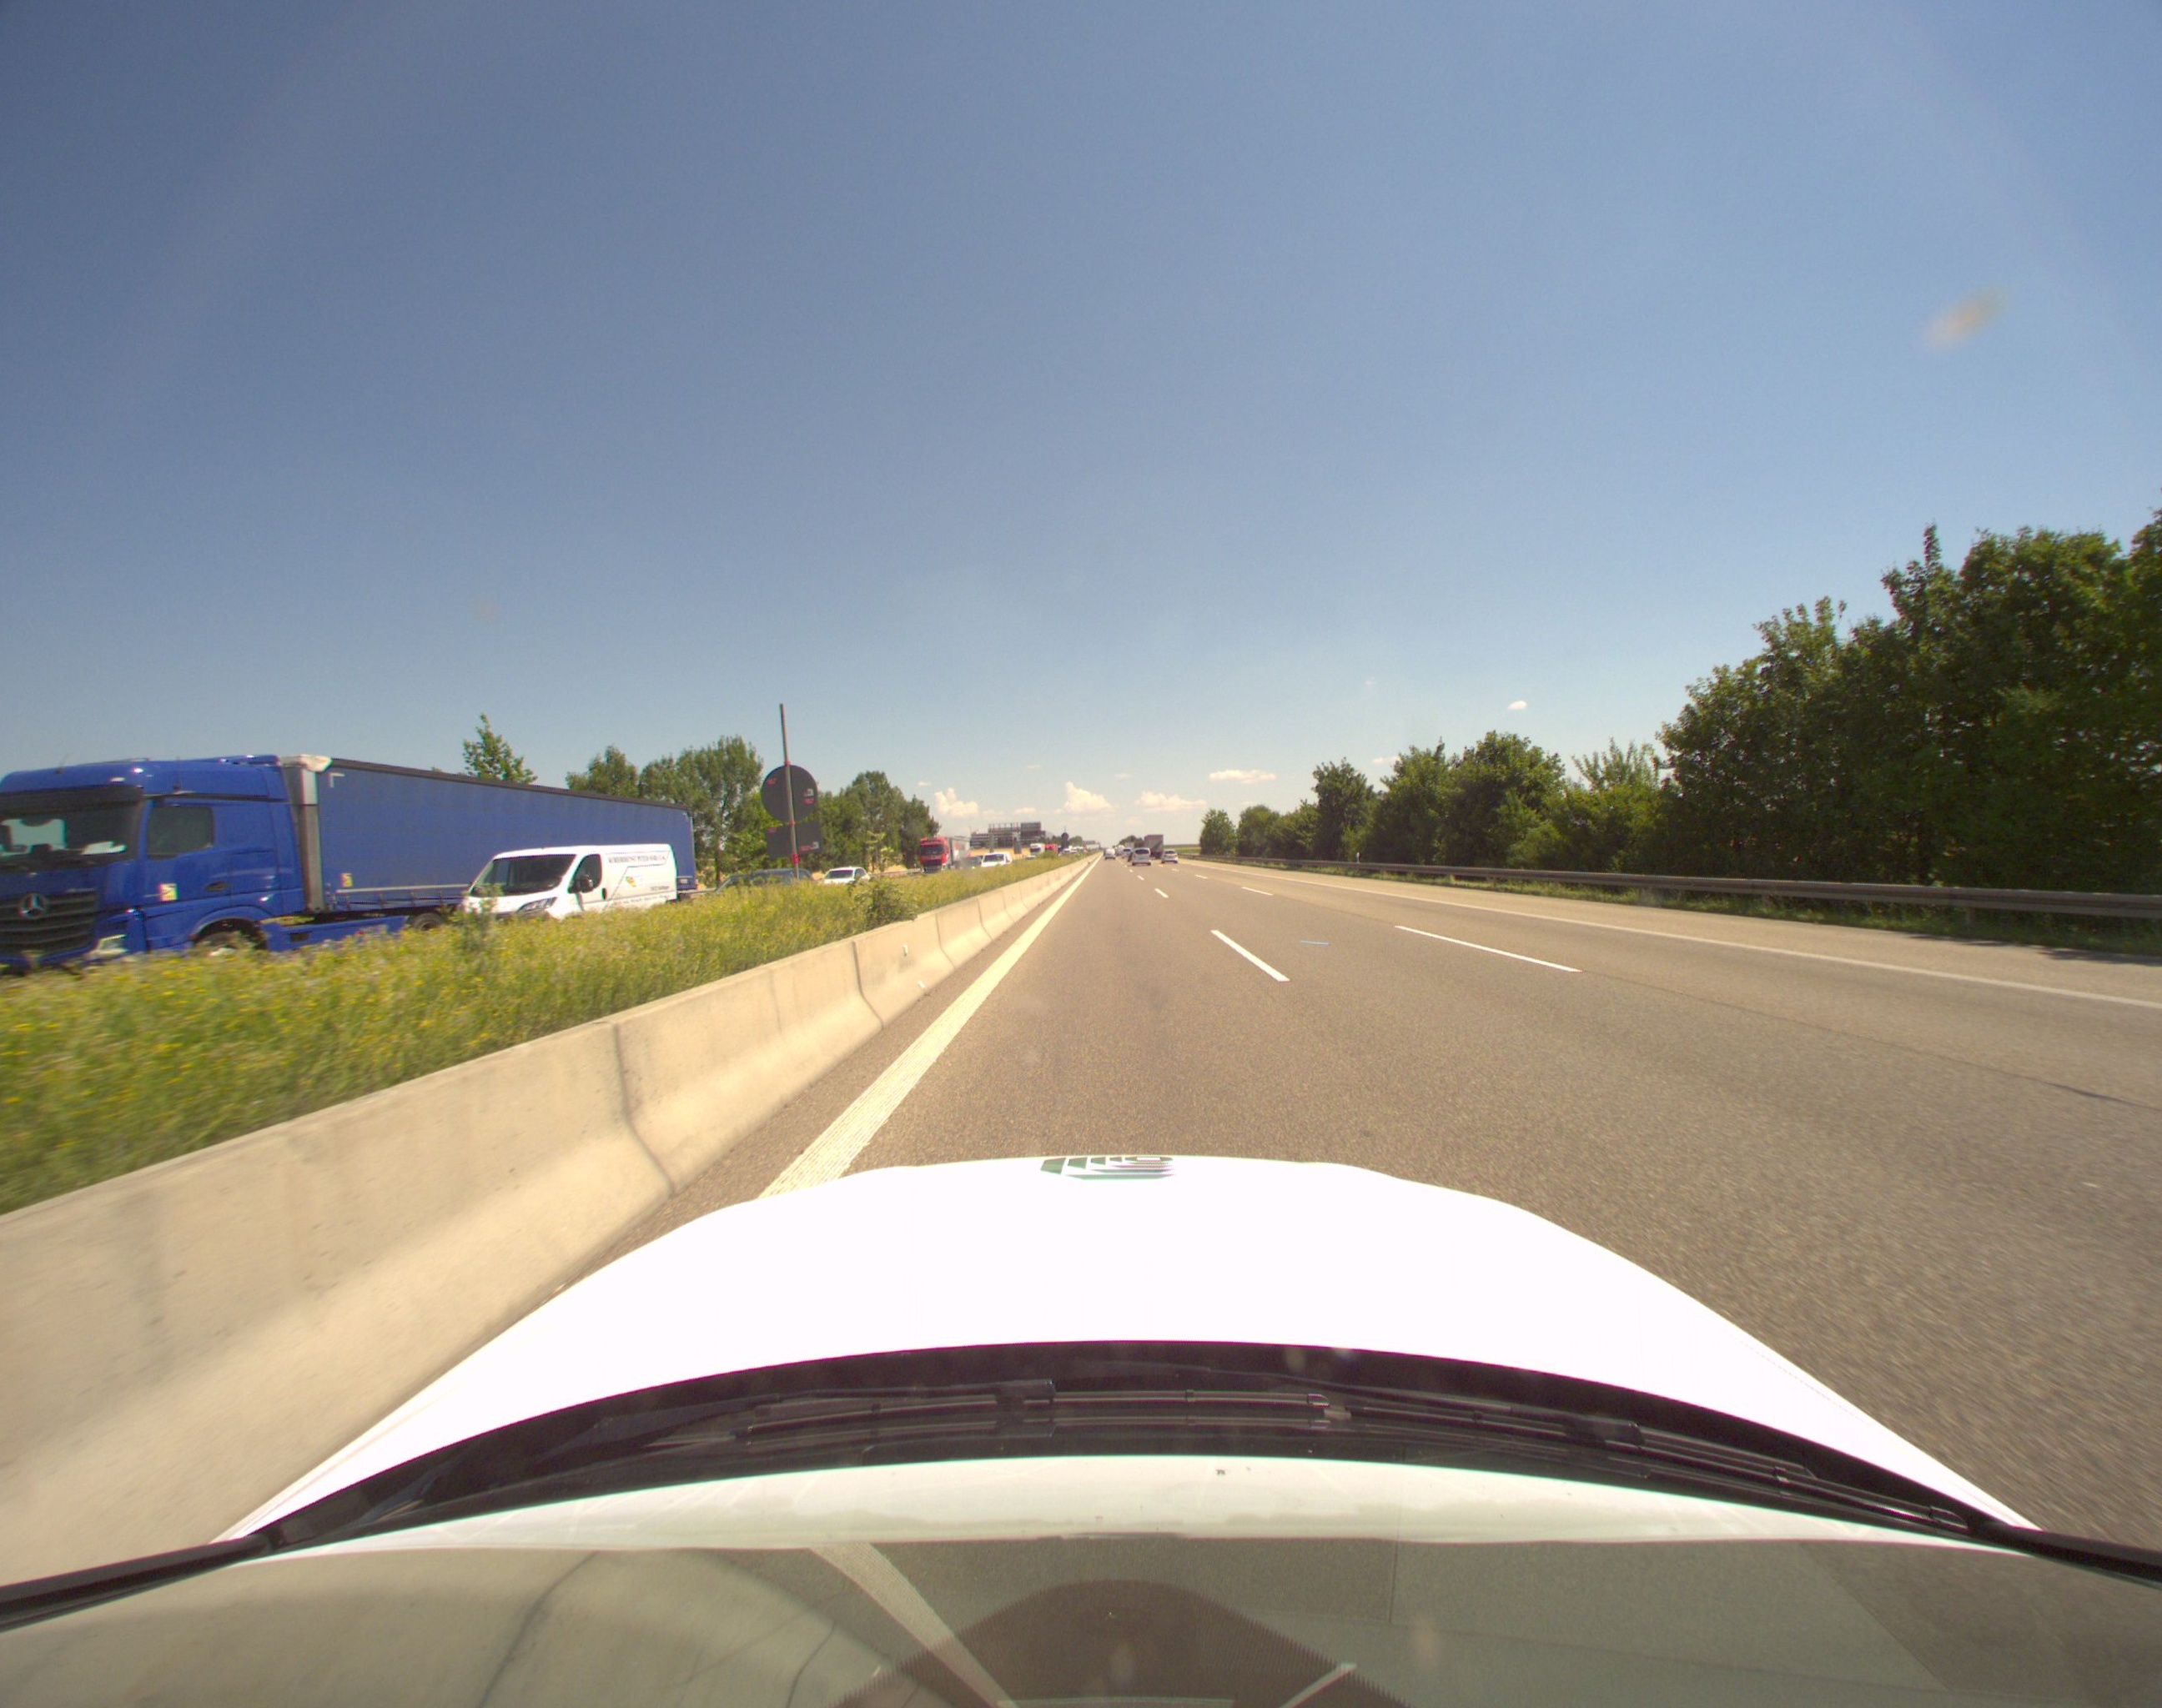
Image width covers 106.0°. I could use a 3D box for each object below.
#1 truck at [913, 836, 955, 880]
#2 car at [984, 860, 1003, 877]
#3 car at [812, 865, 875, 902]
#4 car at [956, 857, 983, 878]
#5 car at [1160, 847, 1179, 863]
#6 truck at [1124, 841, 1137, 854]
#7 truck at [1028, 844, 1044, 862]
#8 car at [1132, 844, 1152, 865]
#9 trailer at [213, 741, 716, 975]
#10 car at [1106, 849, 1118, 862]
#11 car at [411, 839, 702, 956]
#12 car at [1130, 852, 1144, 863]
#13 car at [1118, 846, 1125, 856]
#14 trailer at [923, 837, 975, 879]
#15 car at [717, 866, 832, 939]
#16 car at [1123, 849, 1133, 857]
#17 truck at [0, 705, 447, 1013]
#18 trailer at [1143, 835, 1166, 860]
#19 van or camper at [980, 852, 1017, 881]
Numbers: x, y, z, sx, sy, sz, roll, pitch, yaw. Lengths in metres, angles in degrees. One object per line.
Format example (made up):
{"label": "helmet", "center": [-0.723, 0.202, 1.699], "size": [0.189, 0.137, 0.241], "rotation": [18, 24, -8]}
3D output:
{"label": "truck", "center": [-13.572, 0.378, 75.534], "size": [2.846, 3.855, 4.001], "rotation": [-3, 0, 1]}
{"label": "car", "center": [-11.449, 1.898, 106.349], "size": [1.756, 1.952, 5.118], "rotation": [-4, 0, 1]}
{"label": "car", "center": [-10.642, 1.289, 36.790], "size": [1.611, 1.464, 3.865], "rotation": [-2, 0, 1]}
{"label": "car", "center": [-9.656, 1.156, 70.788], "size": [1.688, 1.727, 4.262], "rotation": [-2, 0, 1]}
{"label": "car", "center": [10.676, 0.145, 98.189], "size": [1.986, 1.794, 4.001], "rotation": [-1, -1, 2]}
{"label": "truck", "center": [15.815, -2.083, 260.837], "size": [3.802, 3.905, 9.583], "rotation": [-2, 0, 1]}
{"label": "truck", "center": [-10.668, -0.276, 193.505], "size": [2.939, 4.158, 5.472], "rotation": [-3, 0, 1]}
{"label": "car", "center": [6.460, 0.119, 86.650], "size": [1.986, 2.120, 4.001], "rotation": [-1, -1, 2]}
{"label": "trailer", "center": [-14.811, 0.079, 22.342], "size": [2.872, 4.350, 13.649], "rotation": [-2, 0, 2]}
{"label": "car", "center": [5.238, 0.291, 139.634], "size": [1.986, 2.014, 4.001], "rotation": [-1, -1, 2]}
{"label": "car", "center": [-10.775, 0.780, 17.511], "size": [2.175, 2.013, 5.768], "rotation": [-2, 0, 4]}
{"label": "car", "center": [7.911, 0.461, 114.867], "size": [1.767, 1.447, 4.001], "rotation": [-1, -1, 2]}
{"label": "car", "center": [10.402, -0.698, 208.689], "size": [1.767, 2.392, 4.001], "rotation": [-1, -1, 2]}
{"label": "trailer", "center": [-13.341, 0.366, 83.626], "size": [2.845, 3.855, 12.189], "rotation": [-3, 0, 2]}
{"label": "car", "center": [-7.073, 1.062, 19.067], "size": [1.380, 1.469, 3.196], "rotation": [-2, 0, 1]}
{"label": "car", "center": [8.904, -0.237, 155.548], "size": [1.767, 1.447, 4.001], "rotation": [-1, -1, 2]}
{"label": "truck", "center": [-15.075, 0.090, 14.522], "size": [2.854, 4.350, 5.588], "rotation": [-2, 0, 2]}
{"label": "trailer", "center": [12.268, -1.034, 137.358], "size": [3.265, 3.967, 9.115], "rotation": [-1, -1, 2]}
{"label": "van or camper", "center": [-5.862, 0.872, 58.546], "size": [1.987, 1.933, 5.202], "rotation": [-2, 0, 1]}
